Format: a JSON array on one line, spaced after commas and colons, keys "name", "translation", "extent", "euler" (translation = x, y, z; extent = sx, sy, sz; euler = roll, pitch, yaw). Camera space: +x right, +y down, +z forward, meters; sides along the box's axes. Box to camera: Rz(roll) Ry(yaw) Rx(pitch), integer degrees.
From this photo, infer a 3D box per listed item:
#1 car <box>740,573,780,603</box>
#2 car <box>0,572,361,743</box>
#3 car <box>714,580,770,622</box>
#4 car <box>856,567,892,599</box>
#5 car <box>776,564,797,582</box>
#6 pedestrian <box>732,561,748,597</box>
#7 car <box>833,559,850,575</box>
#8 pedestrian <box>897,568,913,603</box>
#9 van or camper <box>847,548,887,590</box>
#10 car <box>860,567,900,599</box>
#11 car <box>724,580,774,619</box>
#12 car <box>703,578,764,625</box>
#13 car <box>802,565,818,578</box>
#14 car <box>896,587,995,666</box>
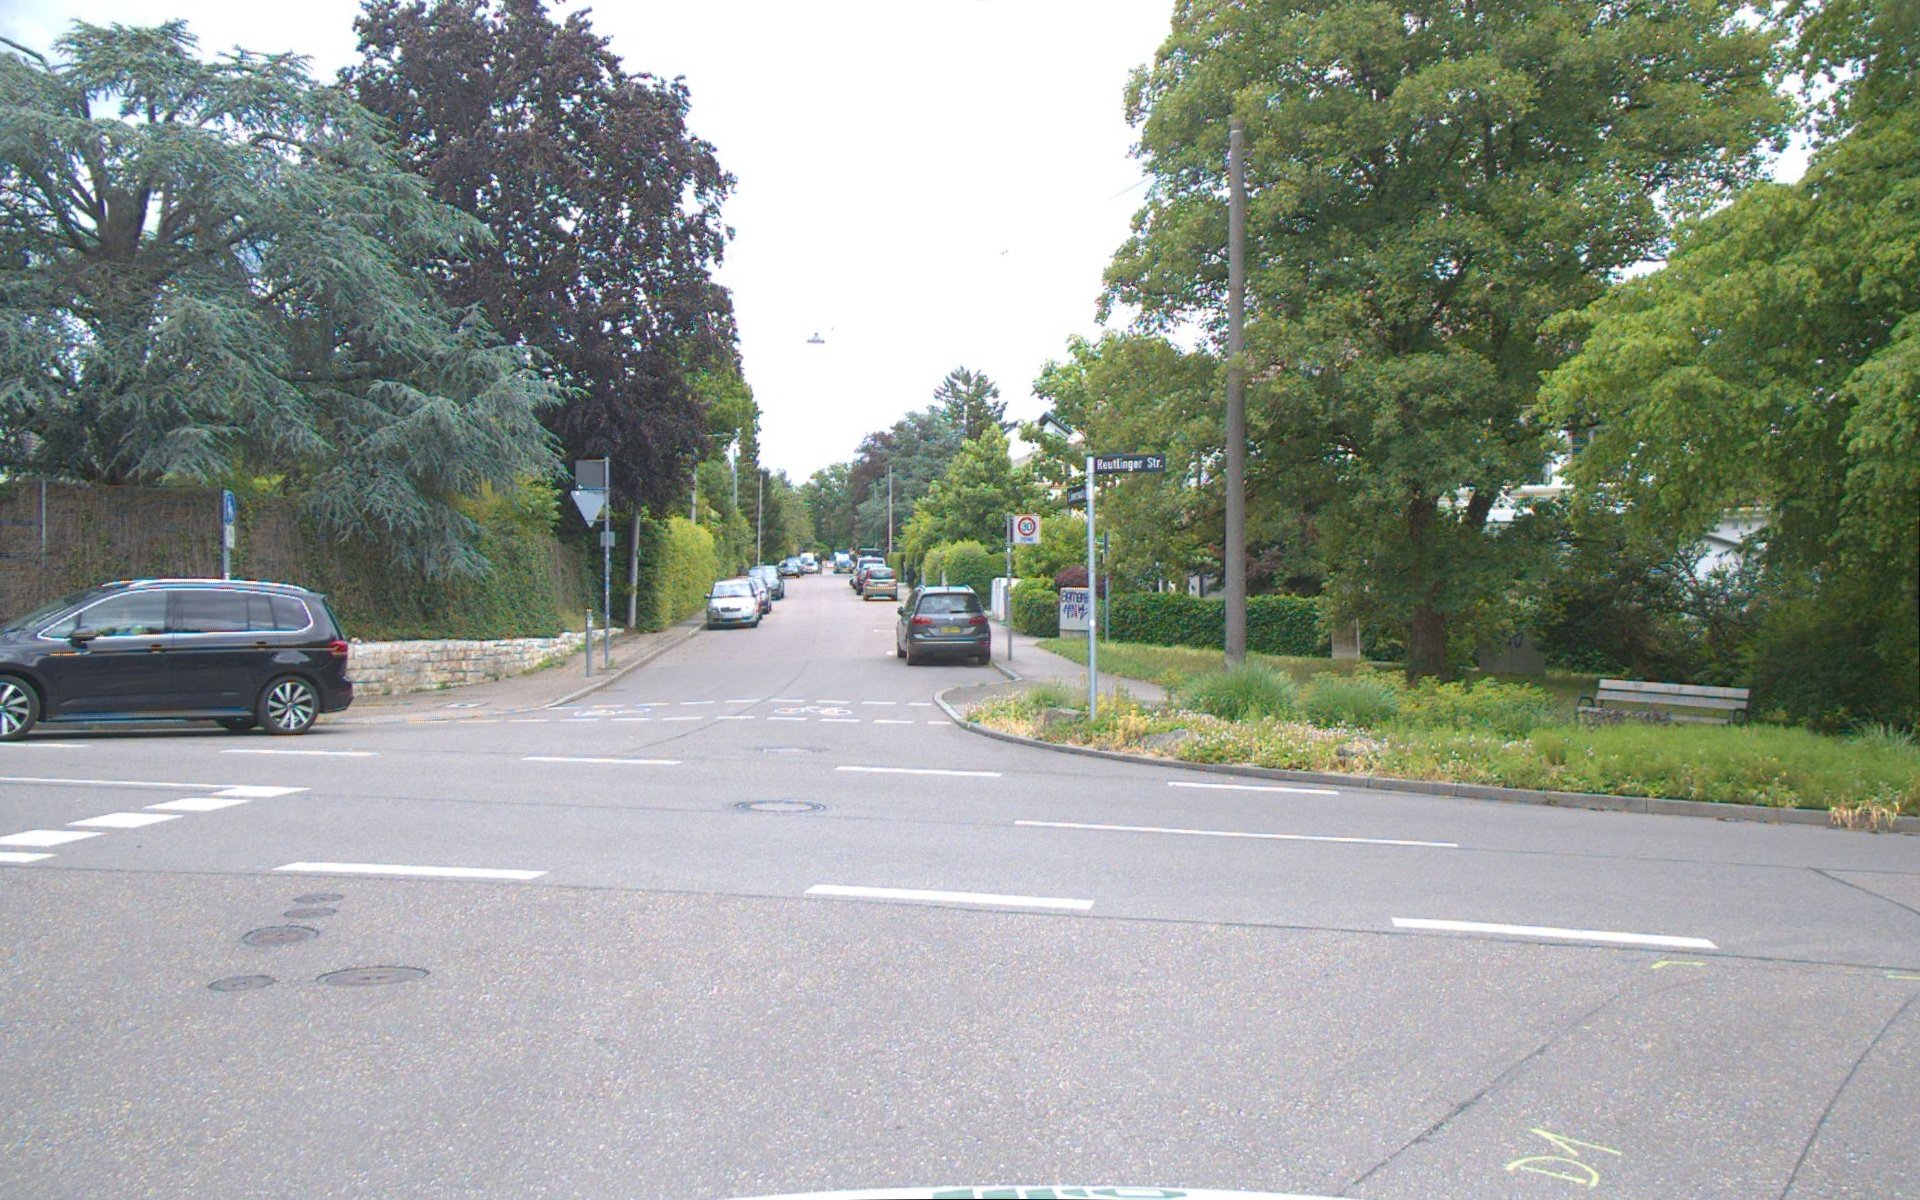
[{"name": "car", "translation": [-9.962, -0.598, 82.454], "extent": [1.909, 1.467, 3.994], "euler": [0, 0, -7]}, {"name": "car", "translation": [-8.837, 0.590, 17.593], "extent": [1.822, 1.640, 4.281], "euler": [-1, -2, 44]}, {"name": "car", "translation": [-7.816, 0.013, 59.571], "extent": [1.909, 1.467, 3.994], "euler": [0, 0, -7]}, {"name": "car", "translation": [-4.596, -0.872, 88.207], "extent": [1.713, 1.668, 3.723], "euler": [0, 0, -6]}, {"name": "car", "translation": [-14.926, -2.326, 142.152], "extent": [1.681, 1.488, 3.653], "euler": [2, 0, -5]}, {"name": "pedestrian", "translation": [-12.827, -1.222, 96.294], "extent": [0.837, 2.049, 0.871], "euler": [2, 0, -10]}, {"name": "car", "translation": [-12.706, -3.501, 177.206], "extent": [1.780, 1.601, 3.996], "euler": [0, 0, -5]}, {"name": "pedestrian", "translation": [-3.022, -0.811, 90.718], "extent": [0.742, 1.904, 0.619], "euler": [2, 0, -5]}, {"name": "van or camper", "translation": [-5.662, -1.824, 100.016], "extent": [2.072, 2.447, 5.238], "euler": [0, 0, -7]}, {"name": "car", "translation": [-3.784, -0.813, 78.220], "extent": [1.578, 1.438, 3.467], "euler": [2, 0, -7]}, {"name": "car", "translation": [-8.243, -0.034, 64.885], "extent": [1.909, 1.467, 3.994], "euler": [0, 0, -7]}, {"name": "car", "translation": [-7.416, 0.037, 54.441], "extent": [1.909, 1.467, 3.994], "euler": [0, 0, -7]}, {"name": "car", "translation": [-16.546, -3.125, 182.758], "extent": [1.622, 1.358, 3.778], "euler": [2, 0, -3]}, {"name": "car", "translation": [-0.361, 0.510, 35.010], "extent": [1.782, 1.563, 3.996], "euler": [0, 0, -5]}]
